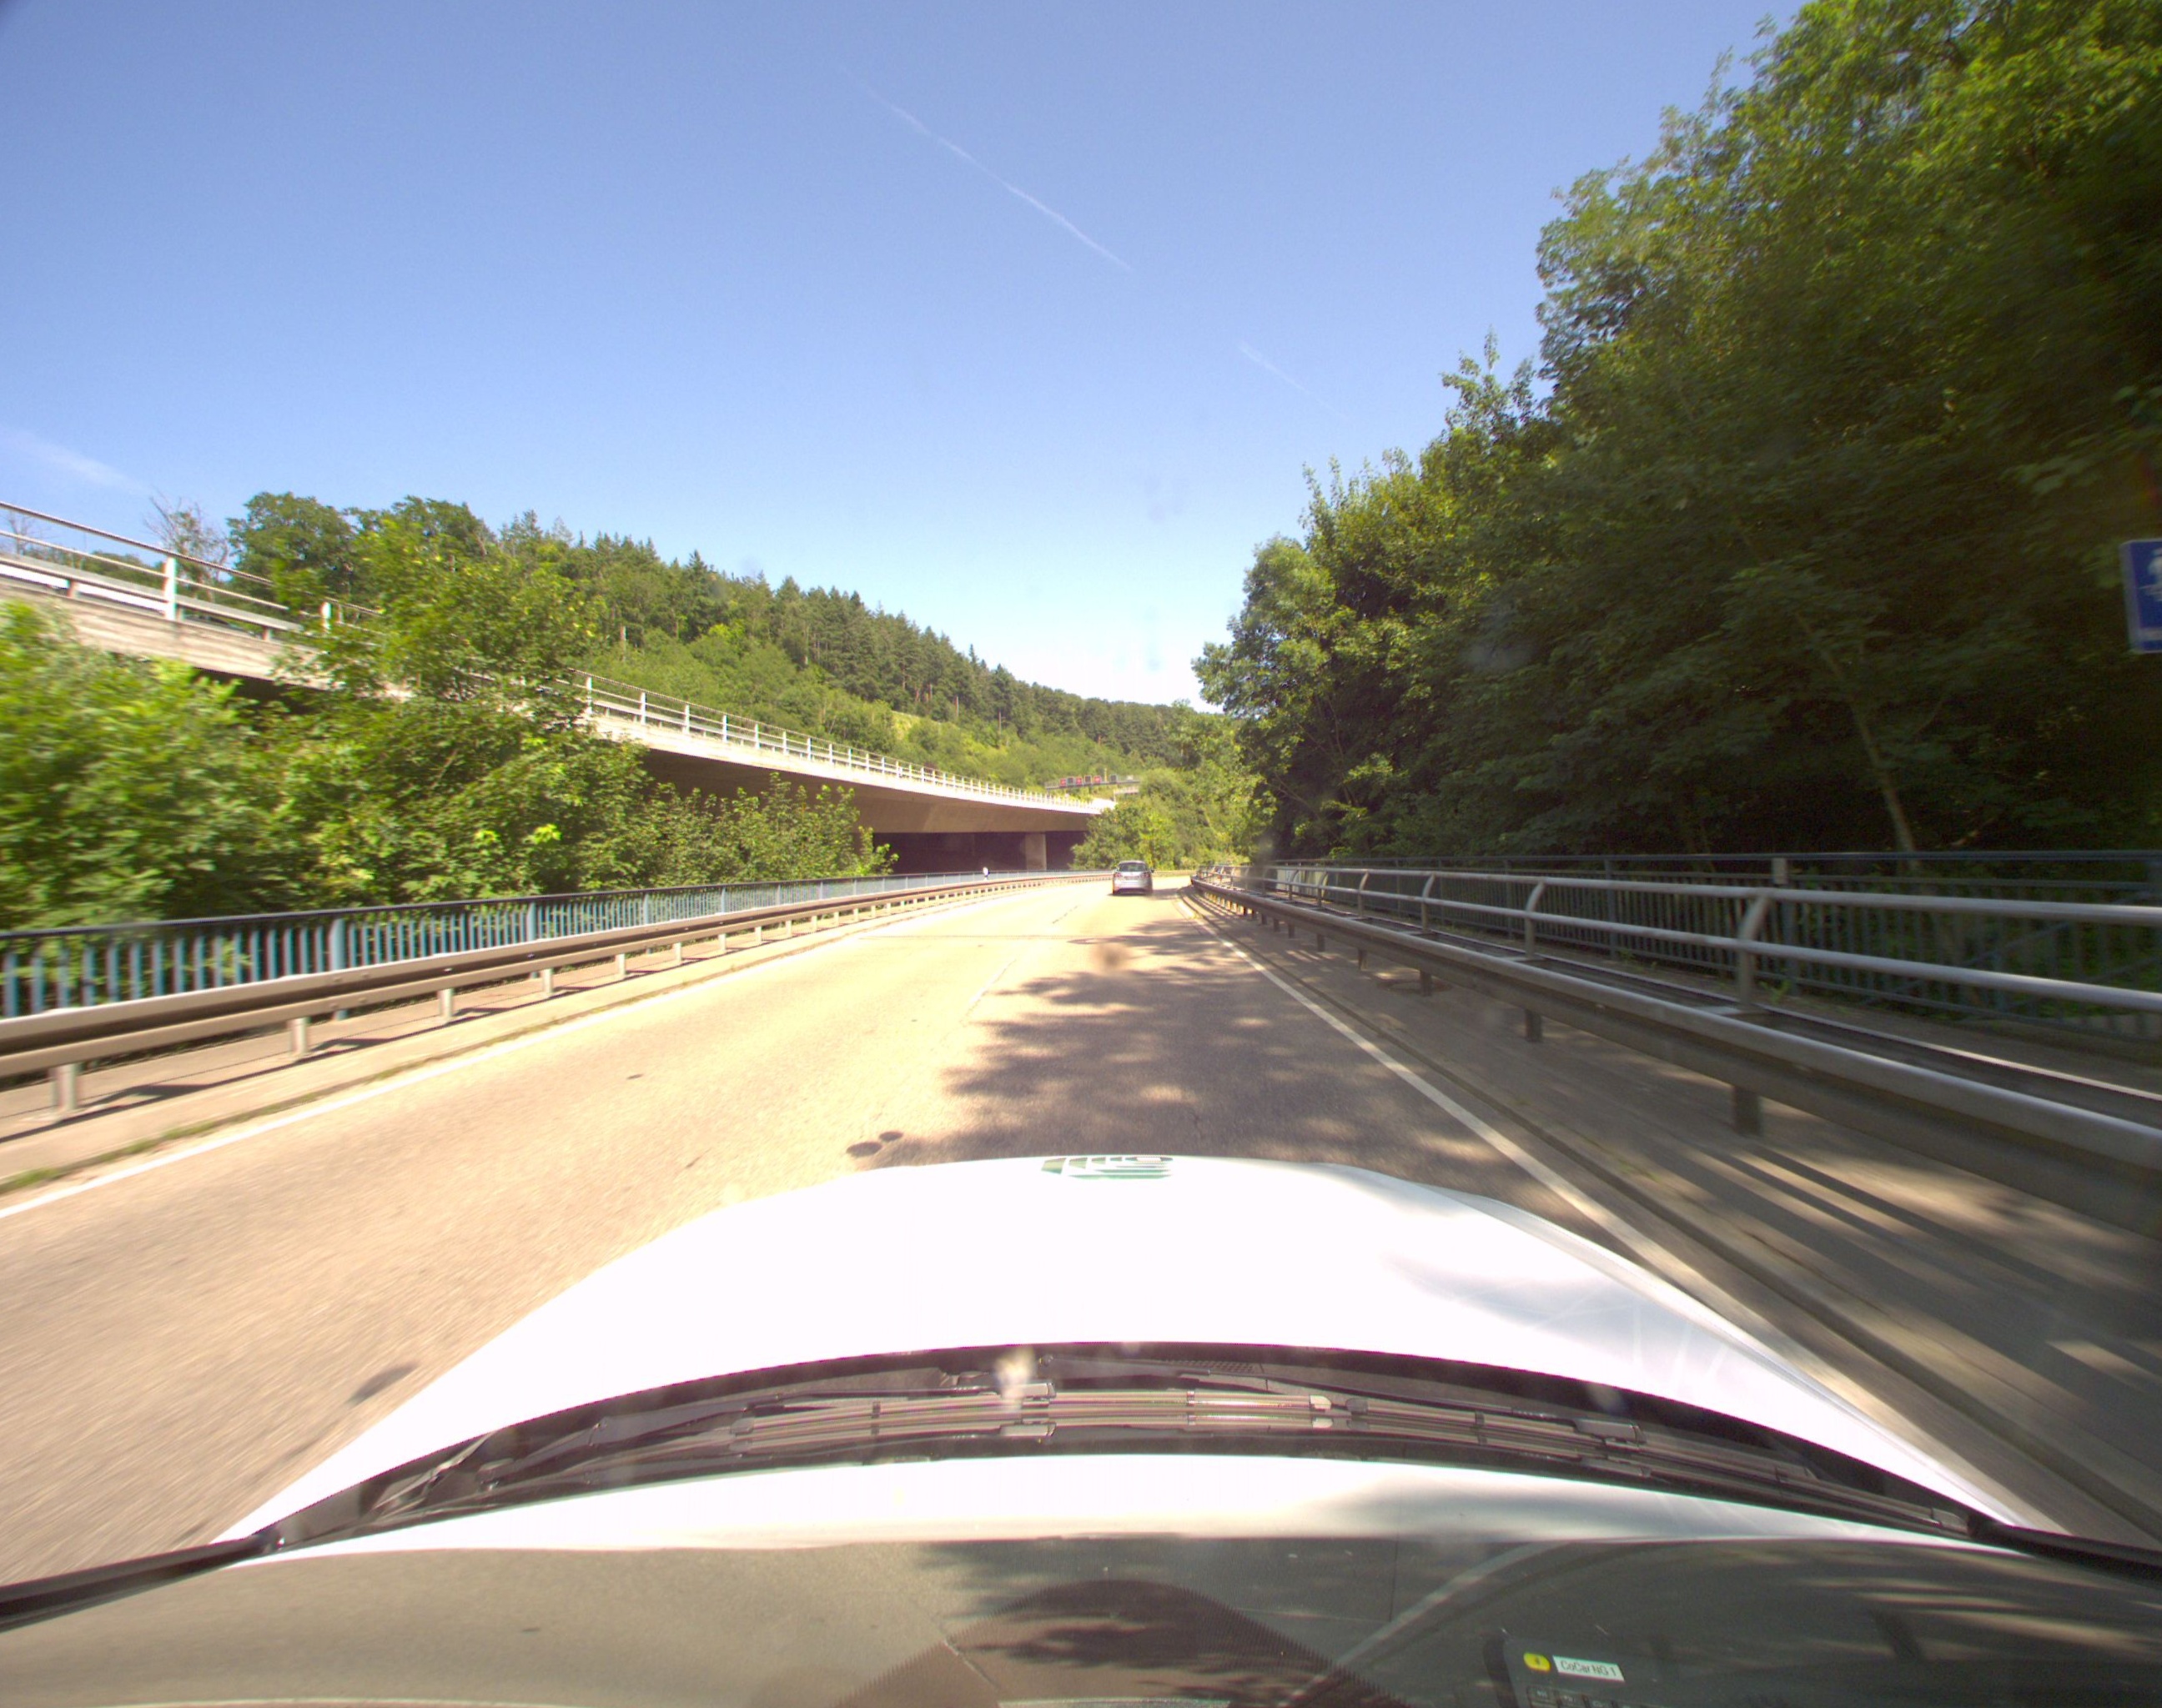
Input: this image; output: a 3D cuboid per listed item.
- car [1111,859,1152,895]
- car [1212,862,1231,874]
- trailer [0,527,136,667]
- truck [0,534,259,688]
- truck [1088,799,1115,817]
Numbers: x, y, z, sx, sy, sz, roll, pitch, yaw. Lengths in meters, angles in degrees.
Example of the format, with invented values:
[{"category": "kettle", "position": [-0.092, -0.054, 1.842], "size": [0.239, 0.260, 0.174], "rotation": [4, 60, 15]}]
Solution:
[{"category": "car", "position": [2.346, 1.018, 37.088], "size": [1.743, 1.520, 4.165], "rotation": [-1, -1, 5]}, {"category": "car", "position": [20.117, 1.991, 116.744], "size": [1.883, 1.581, 4.576], "rotation": [-1, -1, 19]}, {"category": "trailer", "position": [-28.457, -6.680, 16.691], "size": [2.384, 2.878, 12.957], "rotation": [0, 1, 4]}, {"category": "truck", "position": [-27.933, -6.780, 23.616], "size": [2.384, 2.878, 5.473], "rotation": [0, 1, 5]}, {"category": "truck", "position": [4.390, -9.508, 169.922], "size": [3.345, 3.354, 10.216], "rotation": [0, 1, 14]}]
